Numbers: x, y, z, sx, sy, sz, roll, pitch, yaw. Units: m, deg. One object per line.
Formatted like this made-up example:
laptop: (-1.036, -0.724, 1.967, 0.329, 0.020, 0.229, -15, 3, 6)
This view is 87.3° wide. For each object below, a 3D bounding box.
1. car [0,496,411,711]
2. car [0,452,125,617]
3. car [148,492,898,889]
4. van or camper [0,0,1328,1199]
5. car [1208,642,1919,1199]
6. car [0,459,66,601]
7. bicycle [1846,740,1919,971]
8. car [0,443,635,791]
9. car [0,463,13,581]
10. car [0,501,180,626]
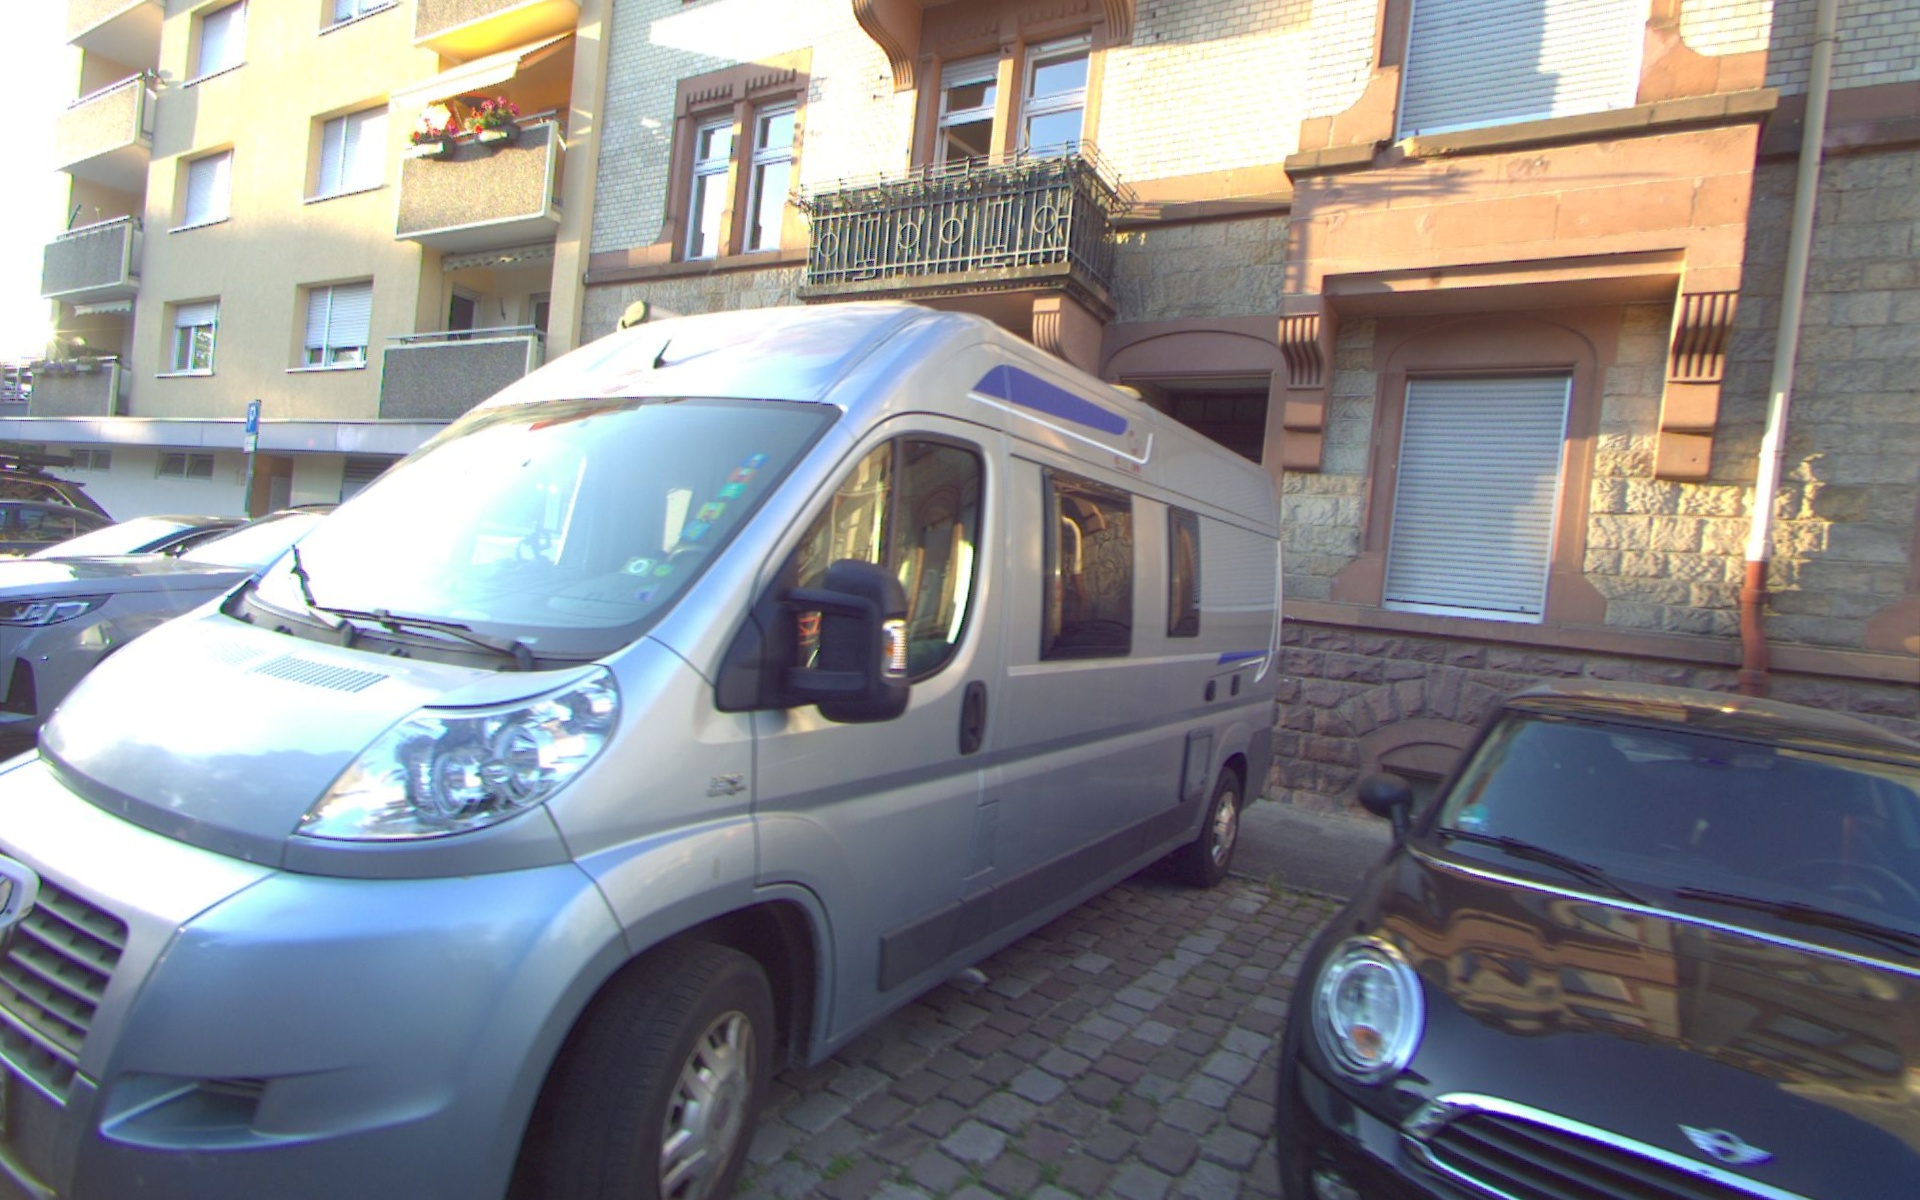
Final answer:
car: (-7.022, -0.030, 8.317, 1.803, 1.473, 3.990, 6, 2, 27)
car: (-14.504, -1.104, 13.382, 1.966, 2.171, 4.715, 7, -1, 30)
car: (-2.304, 0.434, 6.688, 1.741, 1.616, 4.443, 6, 1, 25)
van or camper: (-0.195, 0.041, 4.317, 2.074, 2.803, 5.939, 6, -1, 30)
car: (2.294, 0.972, 3.140, 1.758, 1.505, 3.934, 5, 1, 33)
car: (-16.697, -1.344, 14.851, 1.966, 2.171, 4.715, 7, -1, 30)
bicycle: (6.103, 1.504, 5.261, 1.999, 1.183, 0.632, 7, 0, 26)
car: (-4.687, 0.088, 7.319, 1.741, 1.750, 4.443, 7, 1, 25)
car: (-18.724, -1.570, 16.092, 1.966, 2.171, 4.715, 7, -1, 30)
car: (-12.316, -0.531, 12.137, 1.690, 1.444, 4.239, 6, 1, 31)
